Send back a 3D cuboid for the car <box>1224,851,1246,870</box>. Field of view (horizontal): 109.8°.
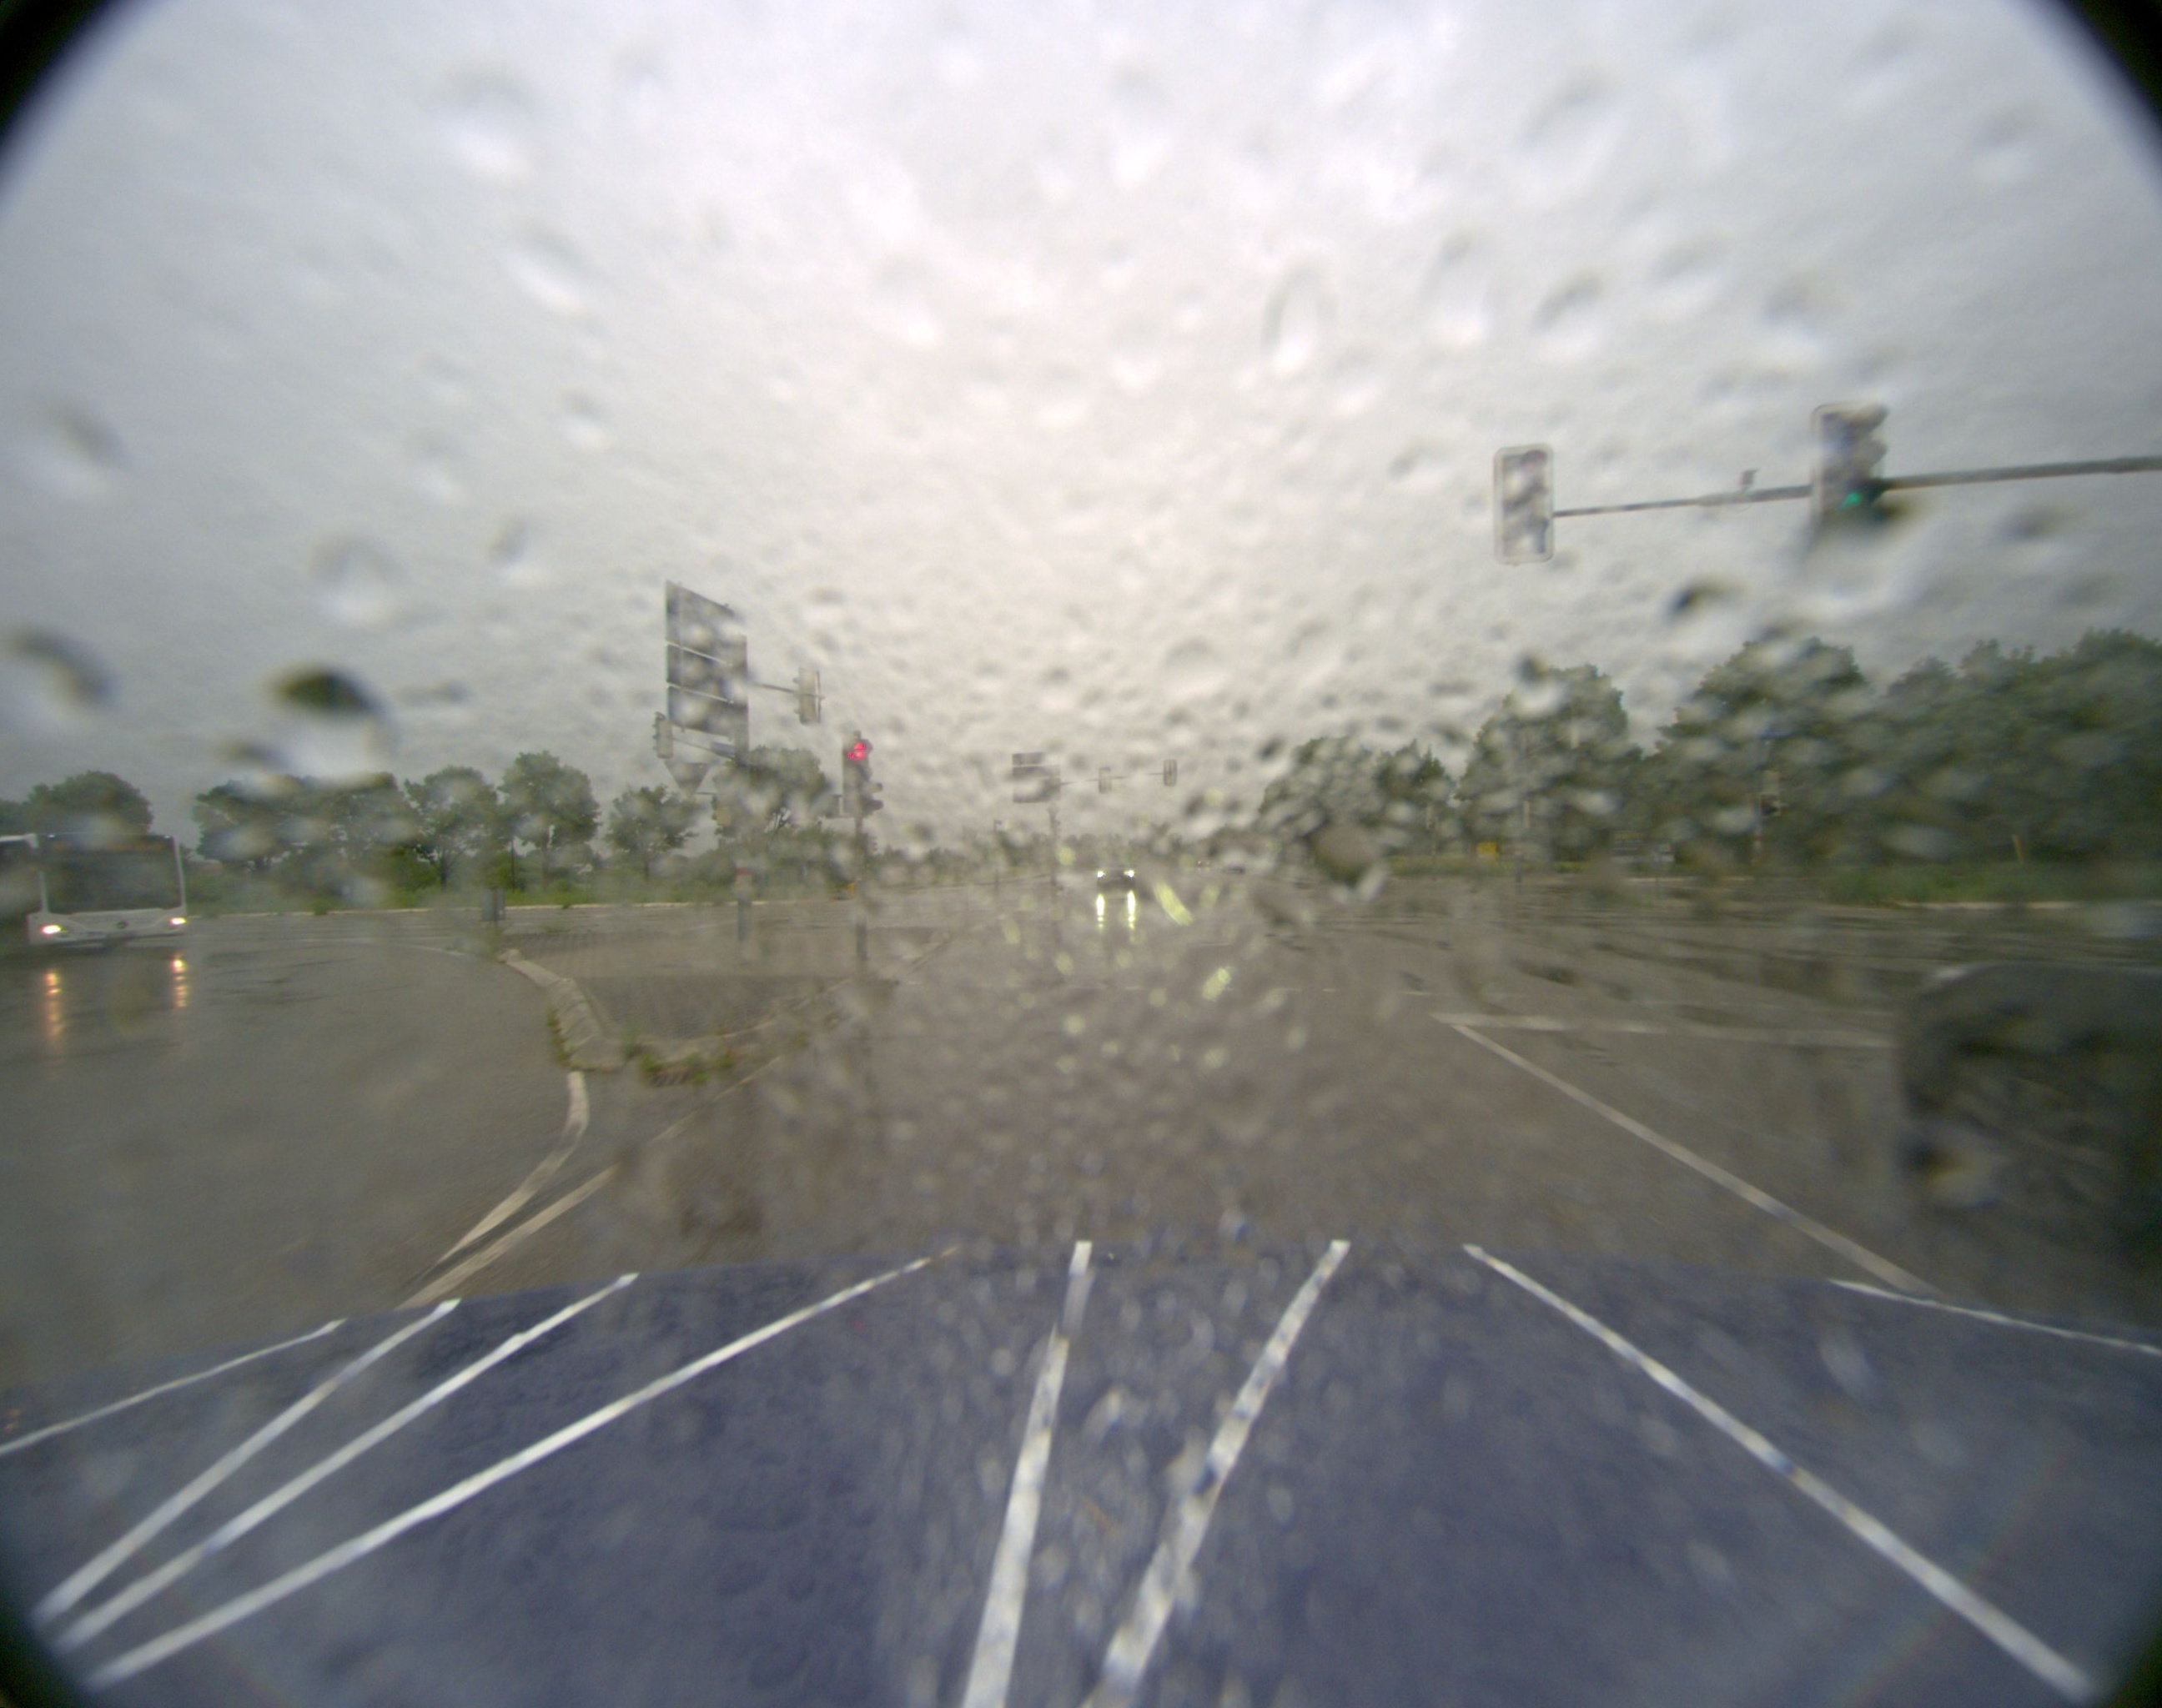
[{"bbox_3d":[13.524,0.541,66.914,1.616,1.510,3.657,-2,1,7],"label":"car"}]

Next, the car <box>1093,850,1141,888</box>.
[{"bbox_3d":[1.809,0.694,36.924,1.997,1.622,4.001,-2,1,6],"label":"car"}]

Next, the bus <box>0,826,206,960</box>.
[{"bbox_3d":[-28.254,1.037,19.979,9.975,3.059,2.681,-2,1,15],"label":"bus"}]

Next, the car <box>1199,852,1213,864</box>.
[{"bbox_3d":[21.119,0.665,127.946,1.918,2.002,4.003,-2,1,14],"label":"car"}]

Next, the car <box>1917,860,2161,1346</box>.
[{"bbox_3d":[4.255,0.818,1.191,1.766,1.528,3.877,-1,1,4],"label":"car"}]
